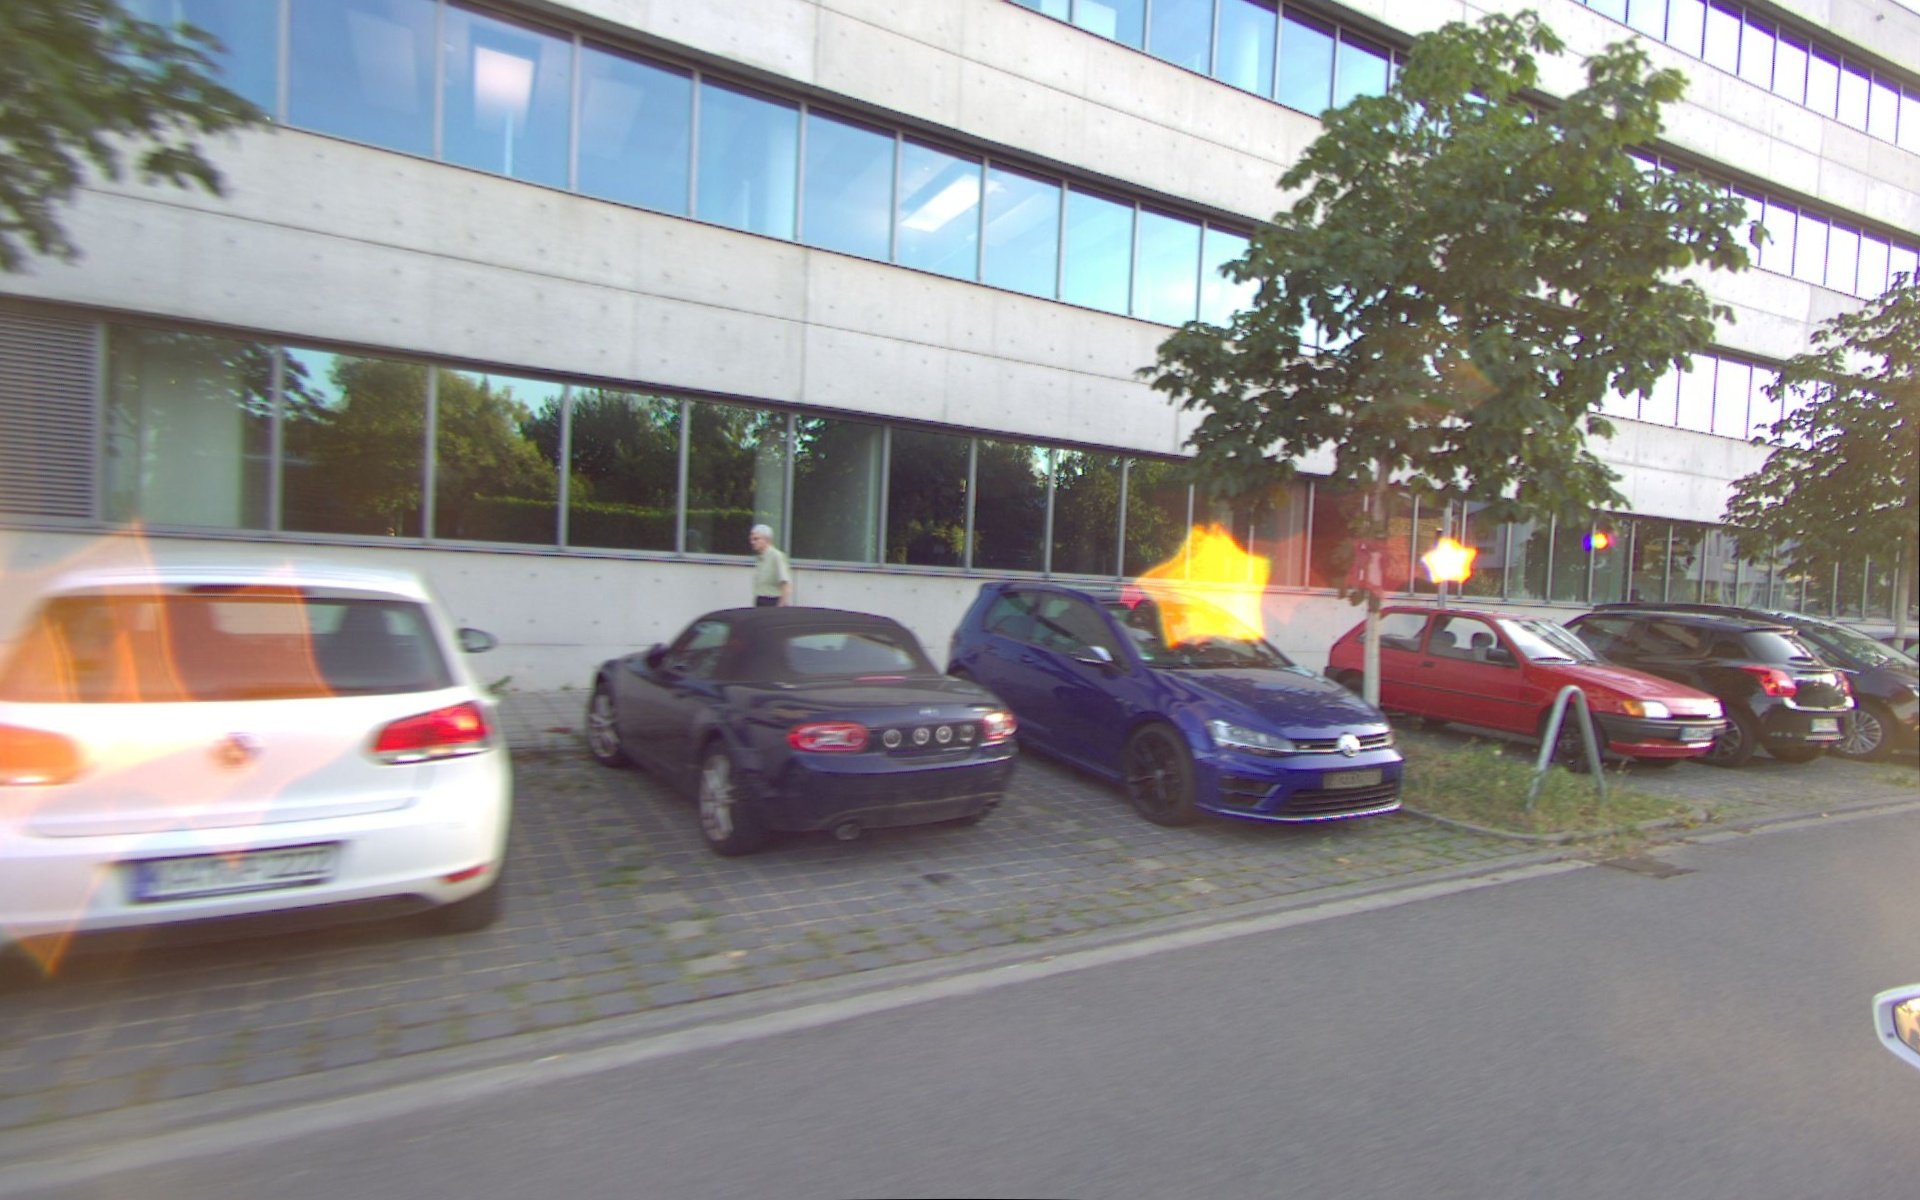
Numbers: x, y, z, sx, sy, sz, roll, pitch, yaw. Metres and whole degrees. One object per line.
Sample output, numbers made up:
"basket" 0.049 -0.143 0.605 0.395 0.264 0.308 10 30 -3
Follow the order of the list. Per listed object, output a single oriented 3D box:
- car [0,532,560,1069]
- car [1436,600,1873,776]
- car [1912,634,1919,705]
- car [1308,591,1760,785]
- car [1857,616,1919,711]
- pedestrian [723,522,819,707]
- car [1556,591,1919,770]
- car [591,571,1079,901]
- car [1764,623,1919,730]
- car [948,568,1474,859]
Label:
"car" -3.164 0.482 4.894 1.739 1.532 3.968 1 3 -29
"car" 7.625 0.856 11.424 1.658 1.477 3.687 2 2 -27
"car" 19.256 1.397 17.018 1.701 1.423 4.132 3 3 -24
"car" 5.693 0.755 10.442 1.691 1.477 3.685 2 2 -29
"car" 17.461 1.243 15.980 1.737 1.519 4.390 3 3 -20
"pedestrian" -1.930 0.136 10.211 0.716 1.808 0.642 2 3 -30
"car" 10.094 0.864 12.420 1.872 1.719 4.292 2 2 -27
"car" -1.066 0.593 6.546 1.669 1.380 3.609 1 3 -34
"car" 15.151 1.223 15.122 1.738 1.484 4.421 1 2 -24
"car" 1.611 0.609 7.775 1.739 1.532 3.851 1 3 -29
